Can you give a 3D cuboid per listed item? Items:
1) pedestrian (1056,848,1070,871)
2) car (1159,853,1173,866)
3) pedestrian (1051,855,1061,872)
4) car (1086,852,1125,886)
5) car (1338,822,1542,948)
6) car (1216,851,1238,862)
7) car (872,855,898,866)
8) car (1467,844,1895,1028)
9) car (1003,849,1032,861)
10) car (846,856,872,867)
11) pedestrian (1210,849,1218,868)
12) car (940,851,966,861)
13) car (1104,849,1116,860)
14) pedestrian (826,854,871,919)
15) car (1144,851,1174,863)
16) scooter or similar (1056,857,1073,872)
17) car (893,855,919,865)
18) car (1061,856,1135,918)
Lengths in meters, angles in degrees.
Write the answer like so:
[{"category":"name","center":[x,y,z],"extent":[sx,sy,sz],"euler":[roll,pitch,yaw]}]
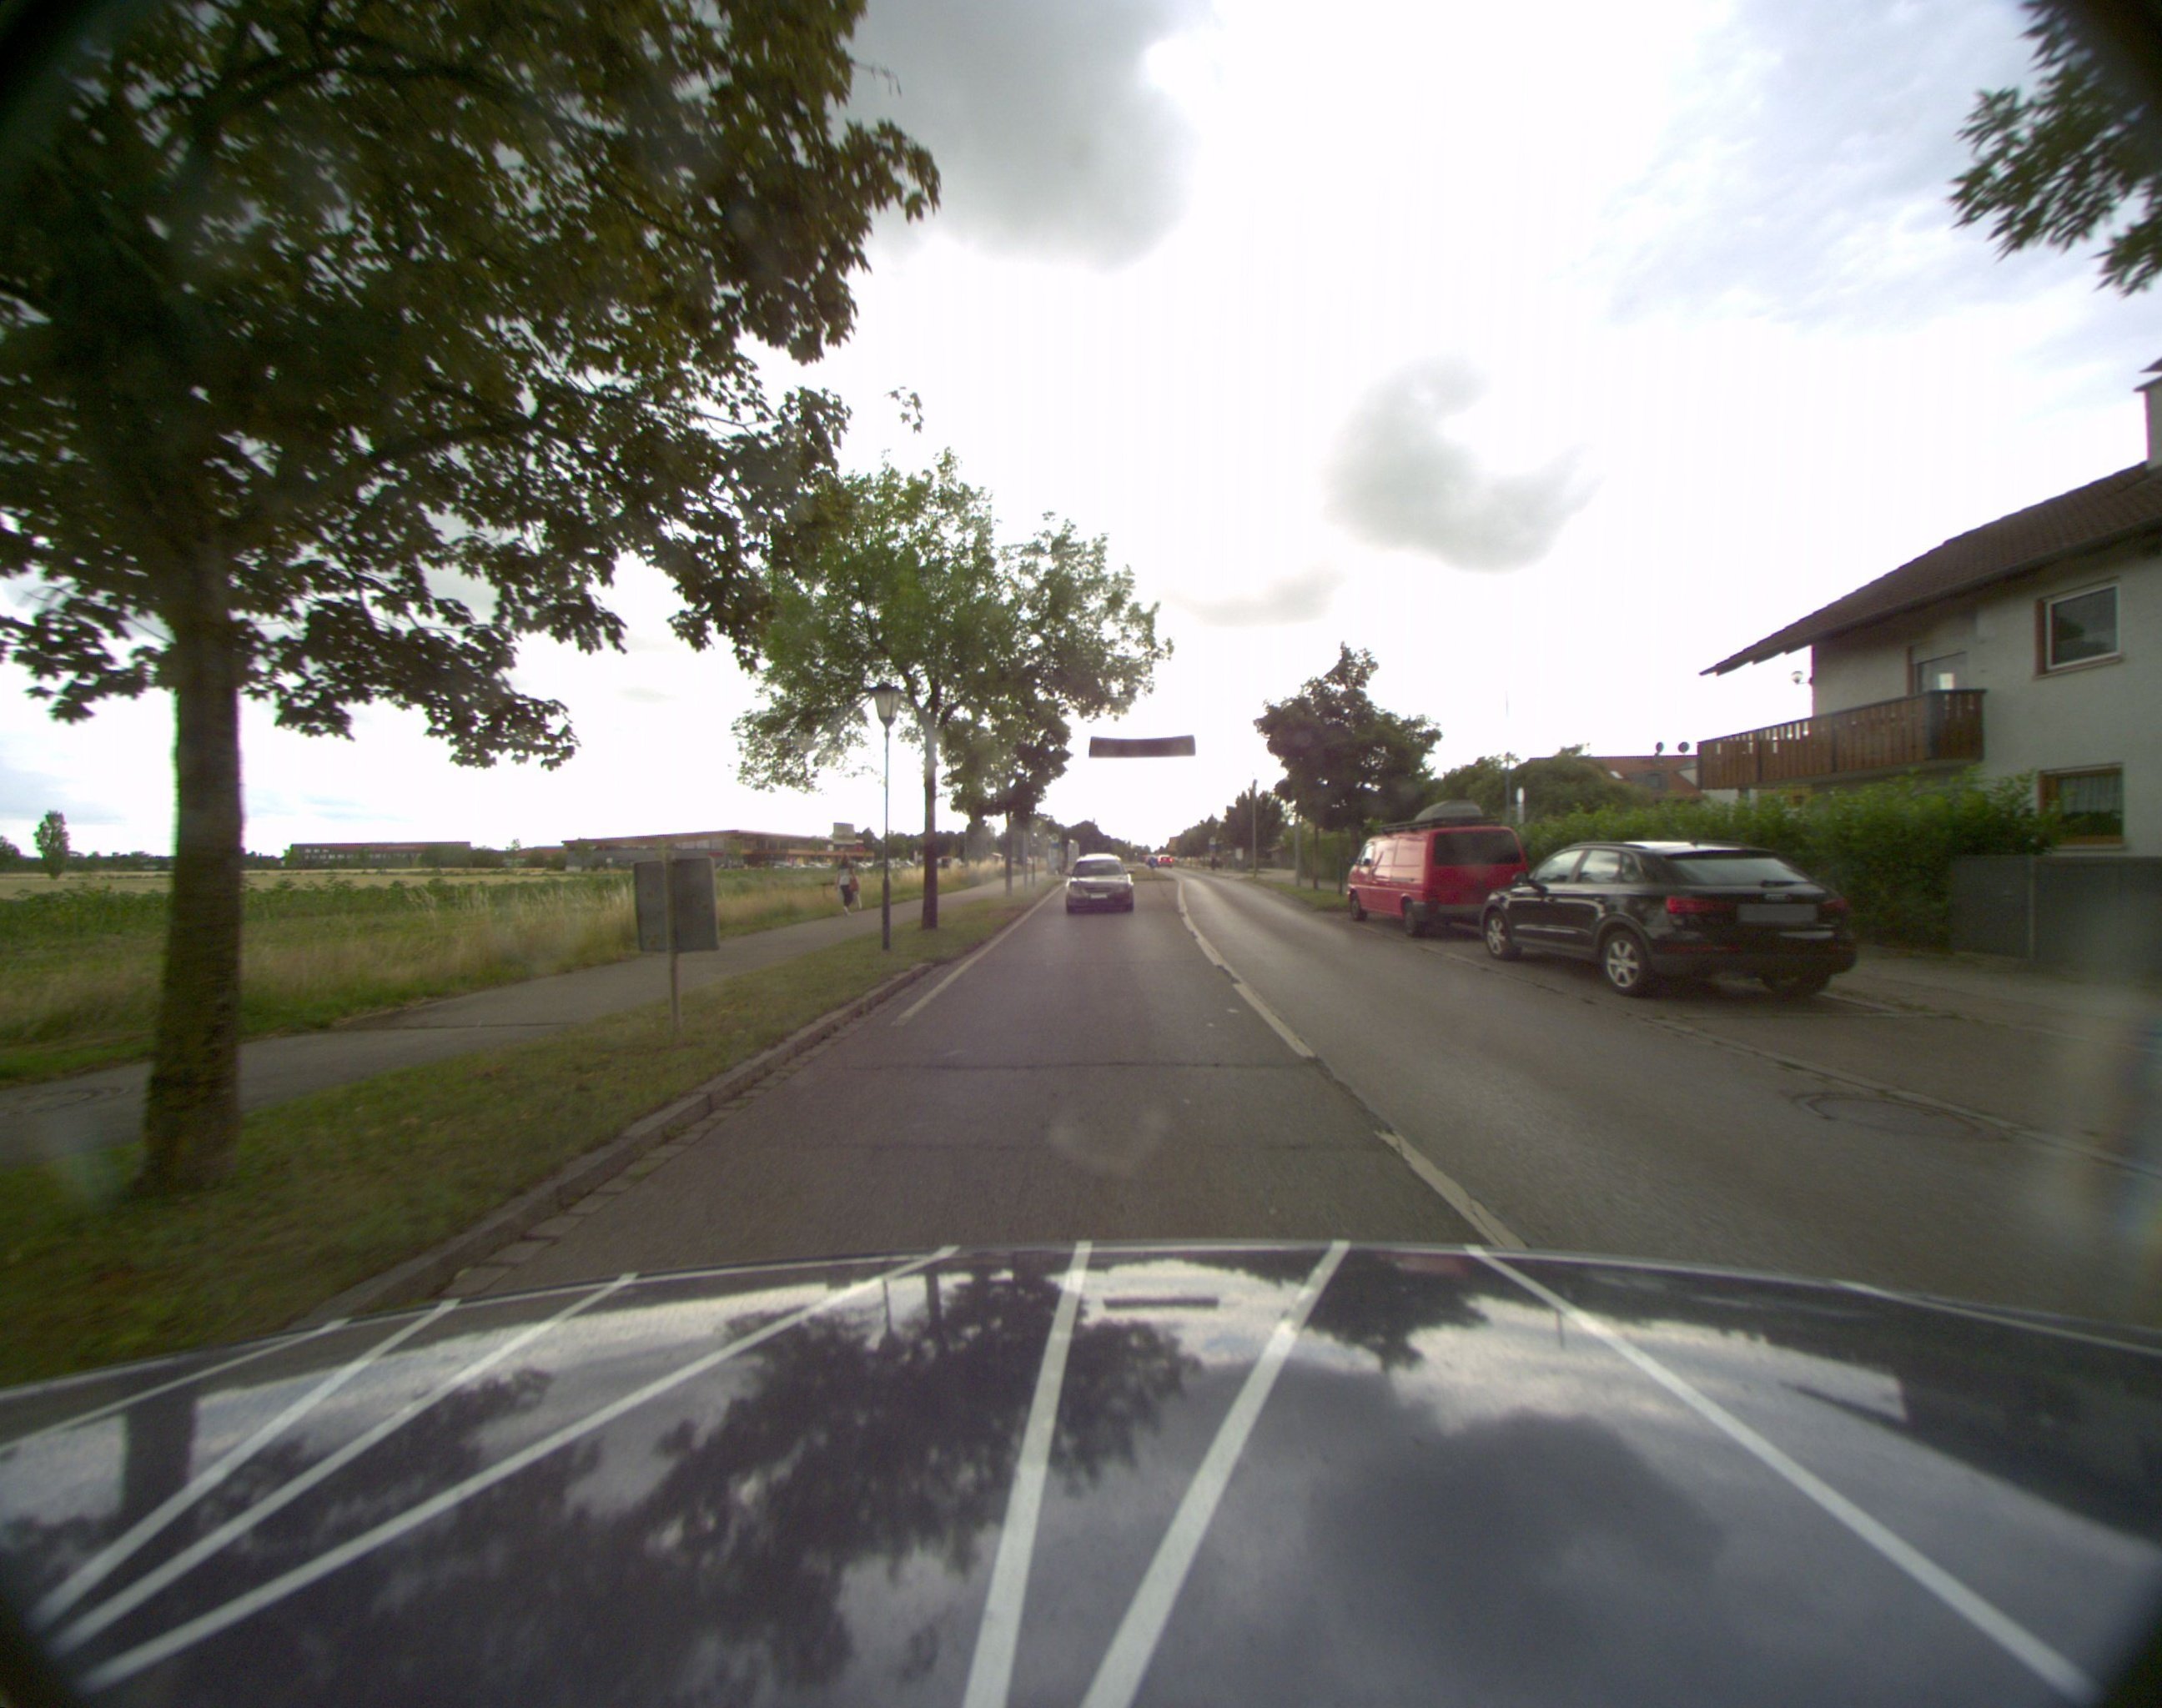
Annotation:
[{"category":"pedestrian","center":[-1.406,0.460,60.902],"extent":[0.782,1.782,0.780],"euler":[-2,1,24]},{"category":"car","center":[10.639,0.711,95.145],"extent":[1.710,1.523,3.509],"euler":[1,0,5]},{"category":"pedestrian","center":[-1.864,0.705,57.160],"extent":[0.666,1.295,0.505],"euler":[-3,1,3]},{"category":"car","center":[1.273,0.698,37.899],"extent":[1.763,1.495,4.691],"euler":[-3,0,3]},{"category":"car","center":[6.653,0.508,14.809],"extent":[1.834,2.018,5.047],"euler":[-1,0,4]},{"category":"car","center":[31.137,0.567,162.247],"extent":[4.567,2.002,2.001],"euler":[-2,1,7]},{"category":"car","center":[-41.066,1.337,159.400],"extent":[4.857,2.002,1.999],"euler":[-3,1,-5]},{"category":"car","center":[6.373,0.738,8.841],"extent":[1.775,1.588,4.239],"euler":[-2,0,3]},{"category":"car","center":[-12.058,0.186,144.461],"extent":[5.526,2.002,1.999],"euler":[-3,1,-4]},{"category":"car","center":[-47.686,1.598,163.102],"extent":[4.857,2.002,1.999],"euler":[-3,1,-5]},{"category":"pedestrian","center":[11.462,0.395,65.409],"extent":[0.589,1.627,0.813],"euler":[-1,0,2]},{"category":"car","center":[-28.464,0.489,169.276],"extent":[5.526,2.002,1.999],"euler":[-3,1,-4]},{"category":"car","center":[5.226,0.054,136.043],"extent":[1.998,2.002,4.000],"euler":[0,0,0]},{"category":"pedestrian","center":[-6.382,0.880,20.887],"extent":[0.839,1.745,0.870],"euler":[-1,1,8]},{"category":"car","center":[14.491,0.485,141.095],"extent":[5.323,2.002,1.996],"euler":[-3,1,-24]},{"category":"scooter or similar","center":[-1.267,0.793,57.424],"extent":[0.707,1.056,1.062],"euler":[-2,1,40]},{"category":"car","center":[-40.147,1.408,174.426],"extent":[5.526,2.002,1.999],"euler":[-3,1,-4]},{"category":"car","center":[0.529,0.834,21.060],"extent":[1.763,1.410,4.521],"euler":[-3,0,3]}]
